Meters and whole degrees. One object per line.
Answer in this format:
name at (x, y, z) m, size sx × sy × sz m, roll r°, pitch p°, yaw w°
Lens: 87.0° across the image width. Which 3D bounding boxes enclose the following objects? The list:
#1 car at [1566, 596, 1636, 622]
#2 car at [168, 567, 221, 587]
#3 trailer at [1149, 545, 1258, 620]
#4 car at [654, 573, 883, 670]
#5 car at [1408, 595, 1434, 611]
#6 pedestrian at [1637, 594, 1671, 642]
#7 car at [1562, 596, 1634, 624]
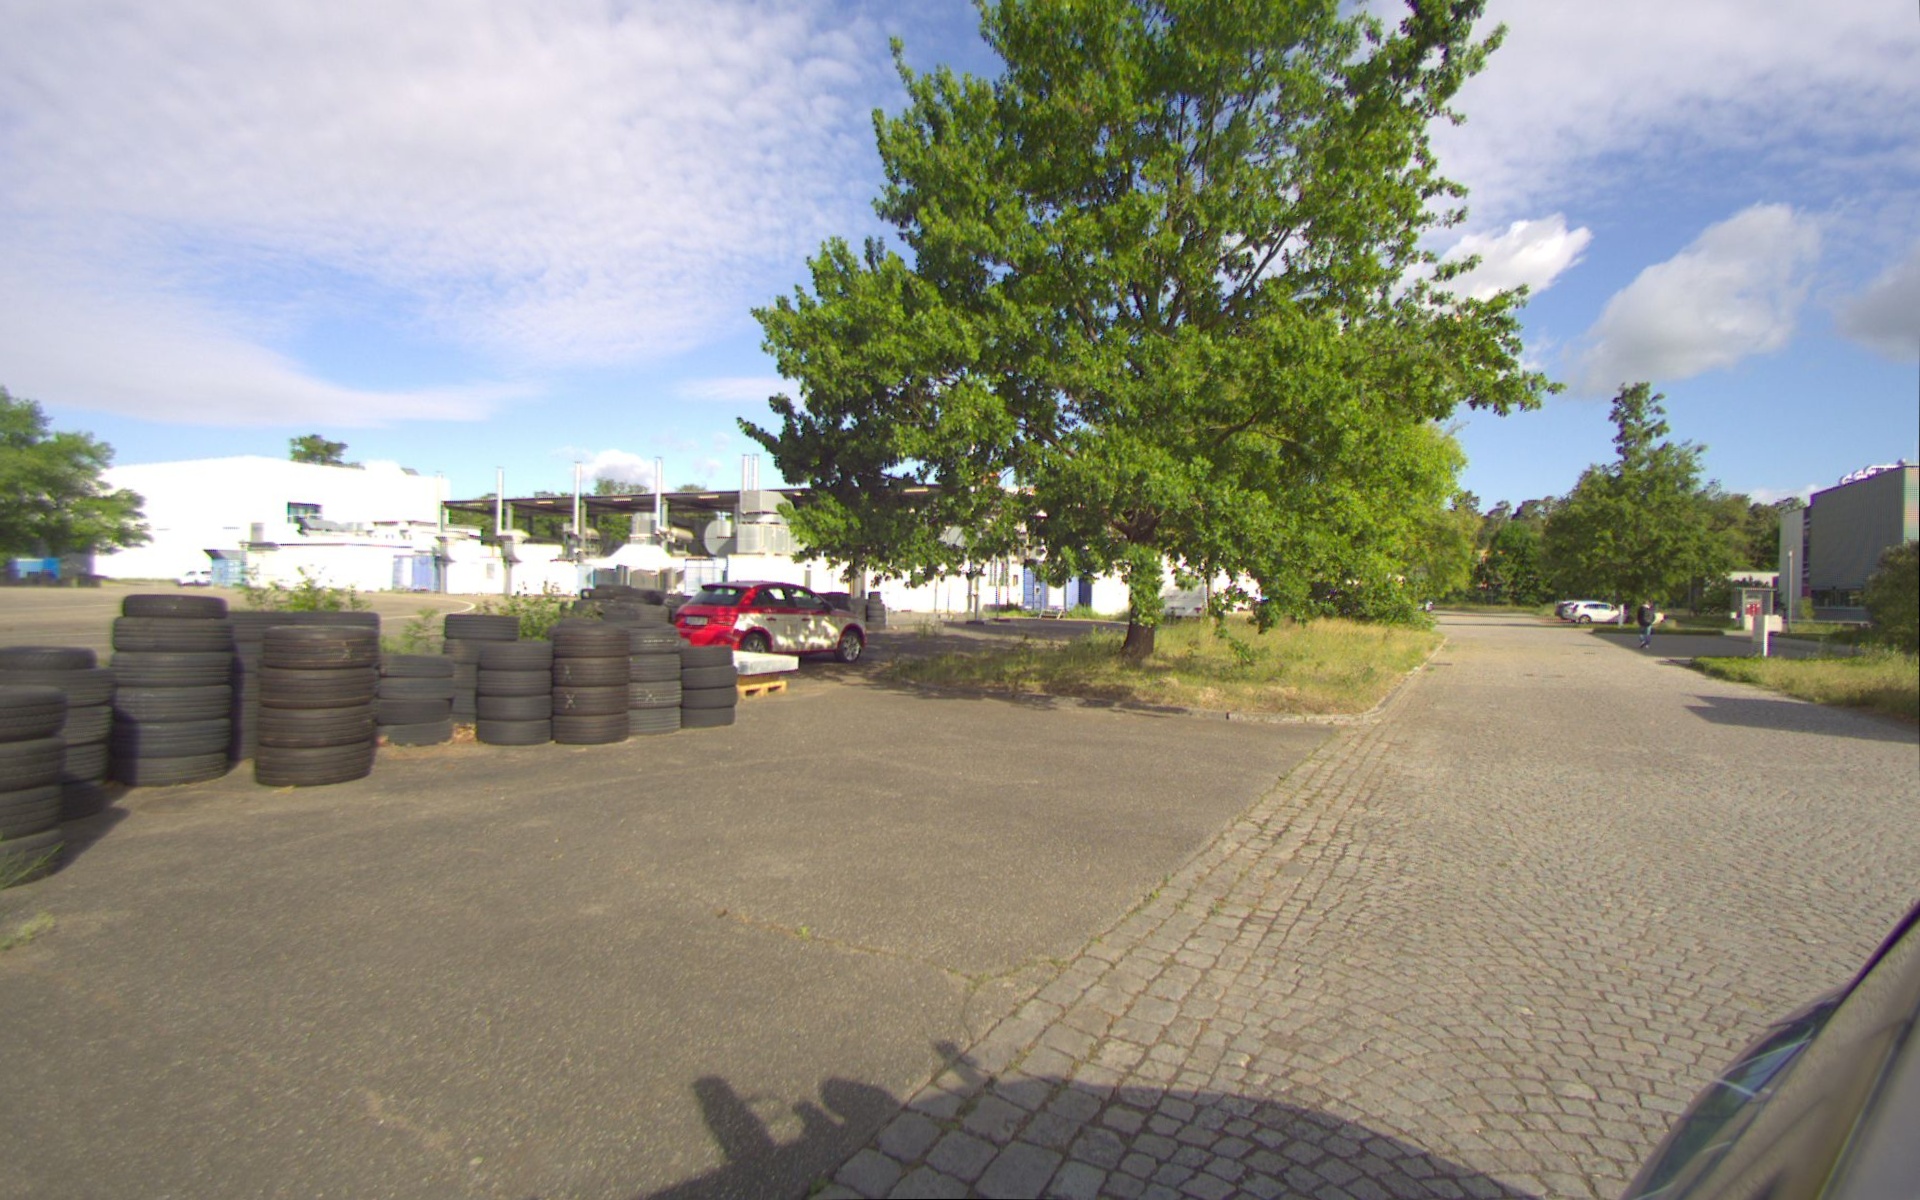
car at (43.912, 0.611, 69.331) m, size 3.972 × 1.663 × 1.976 m, roll 2°, pitch 1°, yaw 34°
car at (-67.178, -2.023, 88.799) m, size 4.502 × 1.584 × 1.858 m, roll 2°, pitch 1°, yaw 26°
trailer at (12.721, -0.857, 52.141) m, size 2.901 × 3.514 × 9.798 m, roll 1°, pitch 1°, yaw 29°
car at (-3.260, 0.326, 17.930) m, size 1.716 × 1.482 × 3.951 m, roll 2°, pitch 1°, yaw 34°
car at (42.842, 0.235, 94.106) m, size 1.976 × 1.388 × 3.972 m, roll 1°, pitch 1°, yaw 21°
pedestrian at (23.646, 0.602, 34.464) m, size 0.863 × 1.578 × 1.013 m, roll 1°, pitch 0°, yaw 39°
car at (42.309, 0.631, 67.126) m, size 3.972 × 1.663 × 1.976 m, roll 2°, pitch 1°, yaw 34°
